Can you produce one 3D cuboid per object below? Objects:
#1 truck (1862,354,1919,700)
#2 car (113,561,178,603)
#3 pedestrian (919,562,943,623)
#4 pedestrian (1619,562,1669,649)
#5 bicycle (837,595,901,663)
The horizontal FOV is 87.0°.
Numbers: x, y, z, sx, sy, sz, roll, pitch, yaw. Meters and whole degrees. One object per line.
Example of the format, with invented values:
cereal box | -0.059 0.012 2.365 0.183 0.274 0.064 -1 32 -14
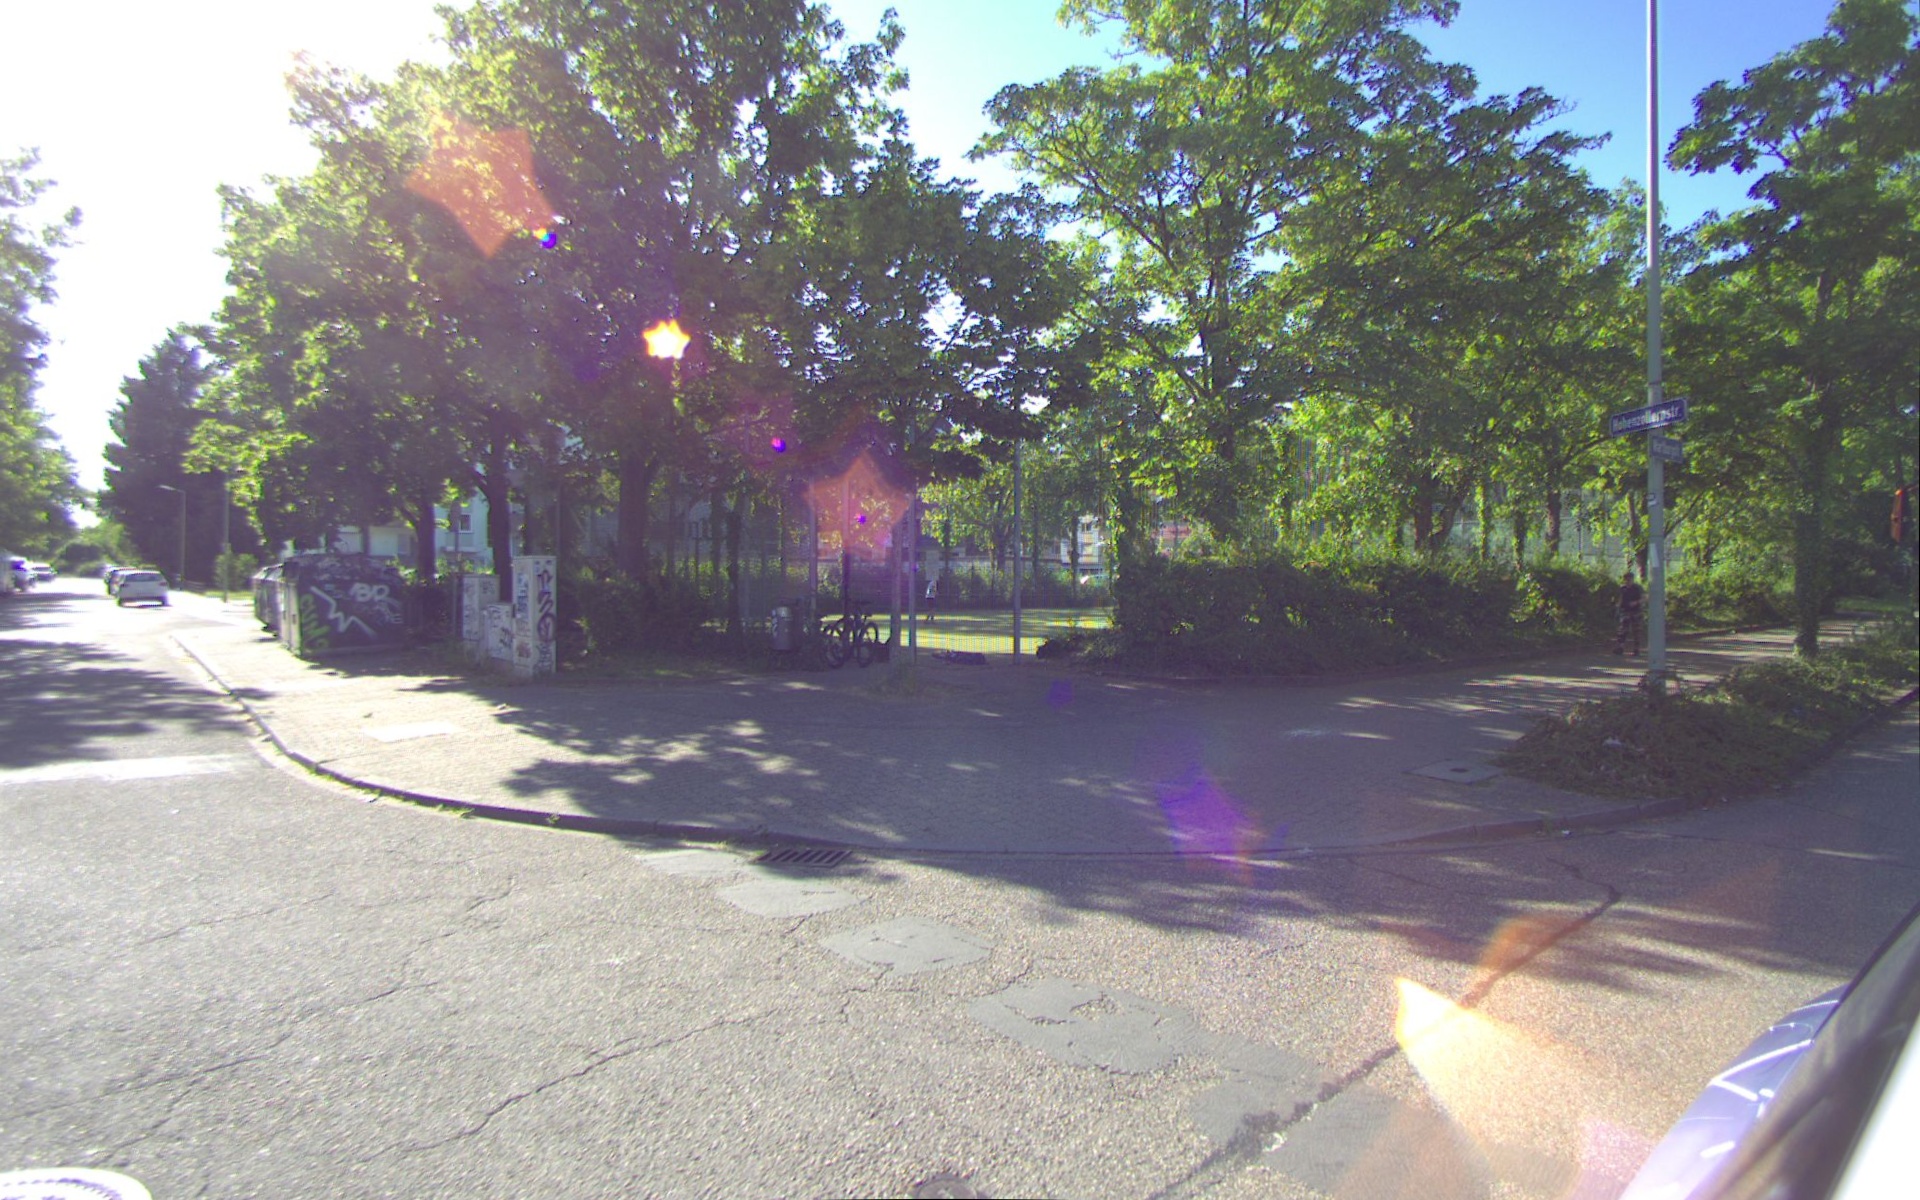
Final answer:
truck | 16.799 -0.953 15.445 10.398 4.399 3.164 -1 1 -41
car | -34.210 -0.786 42.519 2.030 1.671 3.996 0 1 -39
pedestrian | -0.743 -0.202 26.238 0.422 1.555 0.436 0 1 -45
pedestrian | 13.368 0.103 19.782 0.629 1.659 0.642 0 1 -38
bicycle | -1.326 0.418 14.773 0.890 0.970 0.295 1 1 1
